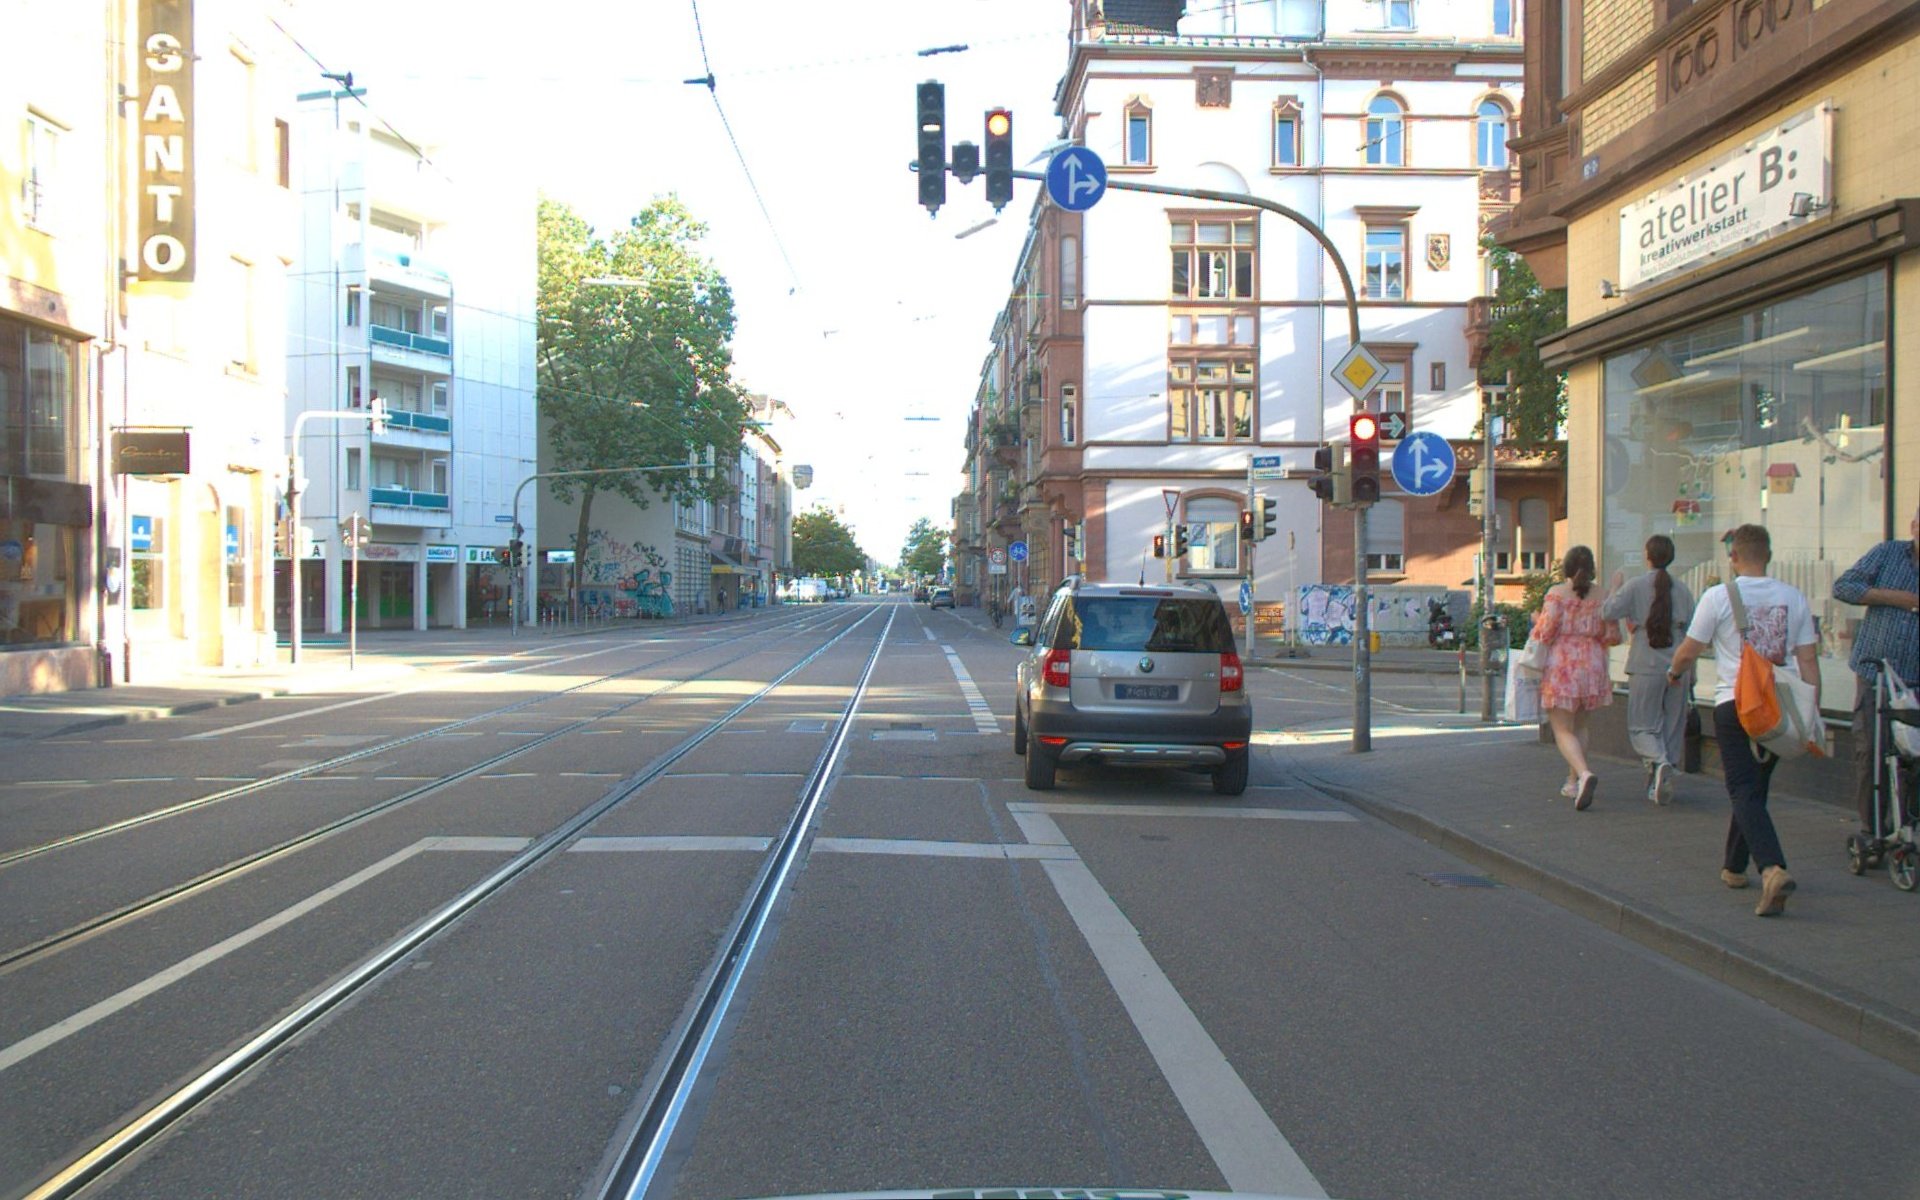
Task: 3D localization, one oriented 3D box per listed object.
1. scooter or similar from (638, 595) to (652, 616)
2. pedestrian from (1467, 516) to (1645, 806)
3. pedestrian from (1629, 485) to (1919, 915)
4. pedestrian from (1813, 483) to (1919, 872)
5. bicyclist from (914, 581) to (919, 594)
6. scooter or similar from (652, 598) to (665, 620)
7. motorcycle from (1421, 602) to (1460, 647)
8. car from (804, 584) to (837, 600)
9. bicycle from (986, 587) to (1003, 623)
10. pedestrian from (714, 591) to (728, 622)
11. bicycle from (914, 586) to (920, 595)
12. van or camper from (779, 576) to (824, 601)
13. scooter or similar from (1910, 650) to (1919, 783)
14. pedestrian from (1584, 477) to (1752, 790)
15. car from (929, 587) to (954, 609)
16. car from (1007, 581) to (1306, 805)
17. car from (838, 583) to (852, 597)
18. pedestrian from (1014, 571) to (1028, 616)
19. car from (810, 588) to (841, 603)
[{"bbox_3d":[-15.742,0.262,82.658,0.506,1.064,1.477,0,0,-4],"label":"scooter or similar"},{"bbox_3d":[3.999,0.390,11.150,0.789,1.831,0.761,-4,1,-3],"label":"pedestrian"},{"bbox_3d":[3.847,0.427,7.807,0.789,1.831,1.091,-4,1,-3],"label":"pedestrian"},{"bbox_3d":[4.858,0.336,8.157,0.789,1.831,0.761,-4,1,-2],"label":"pedestrian"},{"bbox_3d":[-4.902,-1.389,187.945,0.563,1.477,0.645,0,0,-1],"label":"bicyclist"},{"bbox_3d":[-15.082,0.455,82.719,0.506,1.076,1.477,0,0,-4],"label":"scooter or similar"},{"bbox_3d":[12.409,0.617,42.765,0.704,1.037,2.289,0,2,9],"label":"motorcycle"},{"bbox_3d":[-18.361,-1.082,217.161,3.939,2.049,1.983,0,0,-27],"label":"car"},{"bbox_3d":[1.311,0.187,62.768,0.640,1.347,2.177,0,0,0],"label":"bicycle"},{"bbox_3d":[-13.372,0.362,92.556,0.687,1.759,0.647,0,0,-2],"label":"pedestrian"},{"bbox_3d":[-4.896,-1.046,187.949,0.563,1.048,1.894,0,0,-1],"label":"bicycle"},{"bbox_3d":[-17.390,-1.222,181.337,4.592,2.608,1.977,1,0,-33],"label":"van or camper"},{"bbox_3d":[4.893,0.749,7.505,0.789,1.088,0.521,-5,0,-2],"label":"scooter or similar"},{"bbox_3d":[4.617,0.205,10.819,0.677,1.941,0.670,-4,1,-3],"label":"pedestrian"},{"bbox_3d":[-1.476,-0.146,132.109,1.910,1.713,3.999,0,0,-1],"label":"car"},{"bbox_3d":[1.521,0.682,14.265,1.953,1.646,3.998,1,0,-2],"label":"car"},{"bbox_3d":[-16.912,-1.461,243.480,1.953,2.049,3.998,0,0,-3],"label":"car"},{"bbox_3d":[2.451,-0.263,66.245,0.533,1.811,0.504,0,0,-1],"label":"pedestrian"},{"bbox_3d":[-18.757,-0.602,230.735,3.939,2.049,1.983,0,0,-27],"label":"car"}]
